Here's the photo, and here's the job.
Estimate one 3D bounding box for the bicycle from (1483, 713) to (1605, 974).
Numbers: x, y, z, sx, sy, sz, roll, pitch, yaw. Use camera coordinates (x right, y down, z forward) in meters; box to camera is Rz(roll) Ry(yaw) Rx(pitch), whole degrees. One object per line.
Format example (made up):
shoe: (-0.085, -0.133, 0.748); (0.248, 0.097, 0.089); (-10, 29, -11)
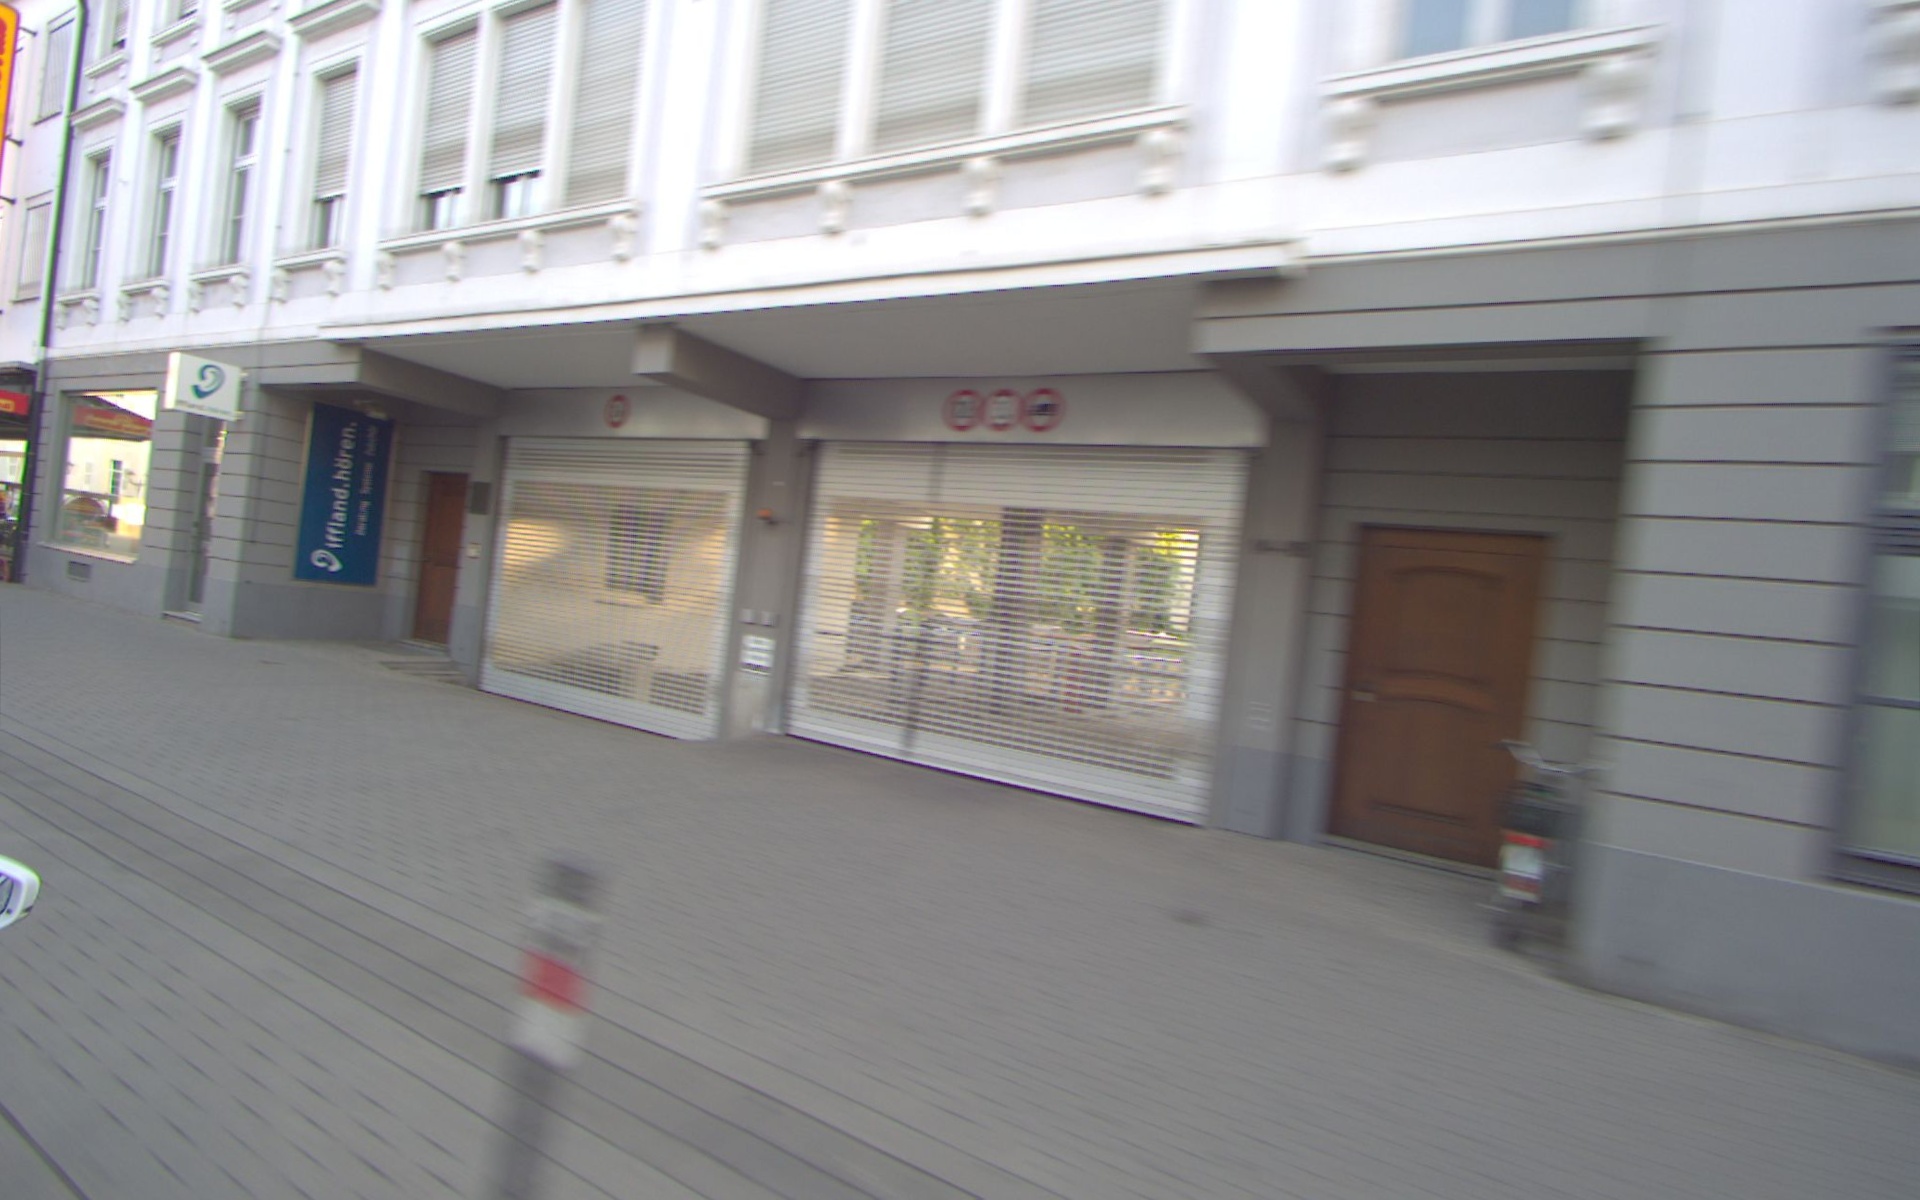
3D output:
bicycle: (3.499, 1.363, 6.080); (0.431, 1.267, 1.660); (7, 0, 29)
